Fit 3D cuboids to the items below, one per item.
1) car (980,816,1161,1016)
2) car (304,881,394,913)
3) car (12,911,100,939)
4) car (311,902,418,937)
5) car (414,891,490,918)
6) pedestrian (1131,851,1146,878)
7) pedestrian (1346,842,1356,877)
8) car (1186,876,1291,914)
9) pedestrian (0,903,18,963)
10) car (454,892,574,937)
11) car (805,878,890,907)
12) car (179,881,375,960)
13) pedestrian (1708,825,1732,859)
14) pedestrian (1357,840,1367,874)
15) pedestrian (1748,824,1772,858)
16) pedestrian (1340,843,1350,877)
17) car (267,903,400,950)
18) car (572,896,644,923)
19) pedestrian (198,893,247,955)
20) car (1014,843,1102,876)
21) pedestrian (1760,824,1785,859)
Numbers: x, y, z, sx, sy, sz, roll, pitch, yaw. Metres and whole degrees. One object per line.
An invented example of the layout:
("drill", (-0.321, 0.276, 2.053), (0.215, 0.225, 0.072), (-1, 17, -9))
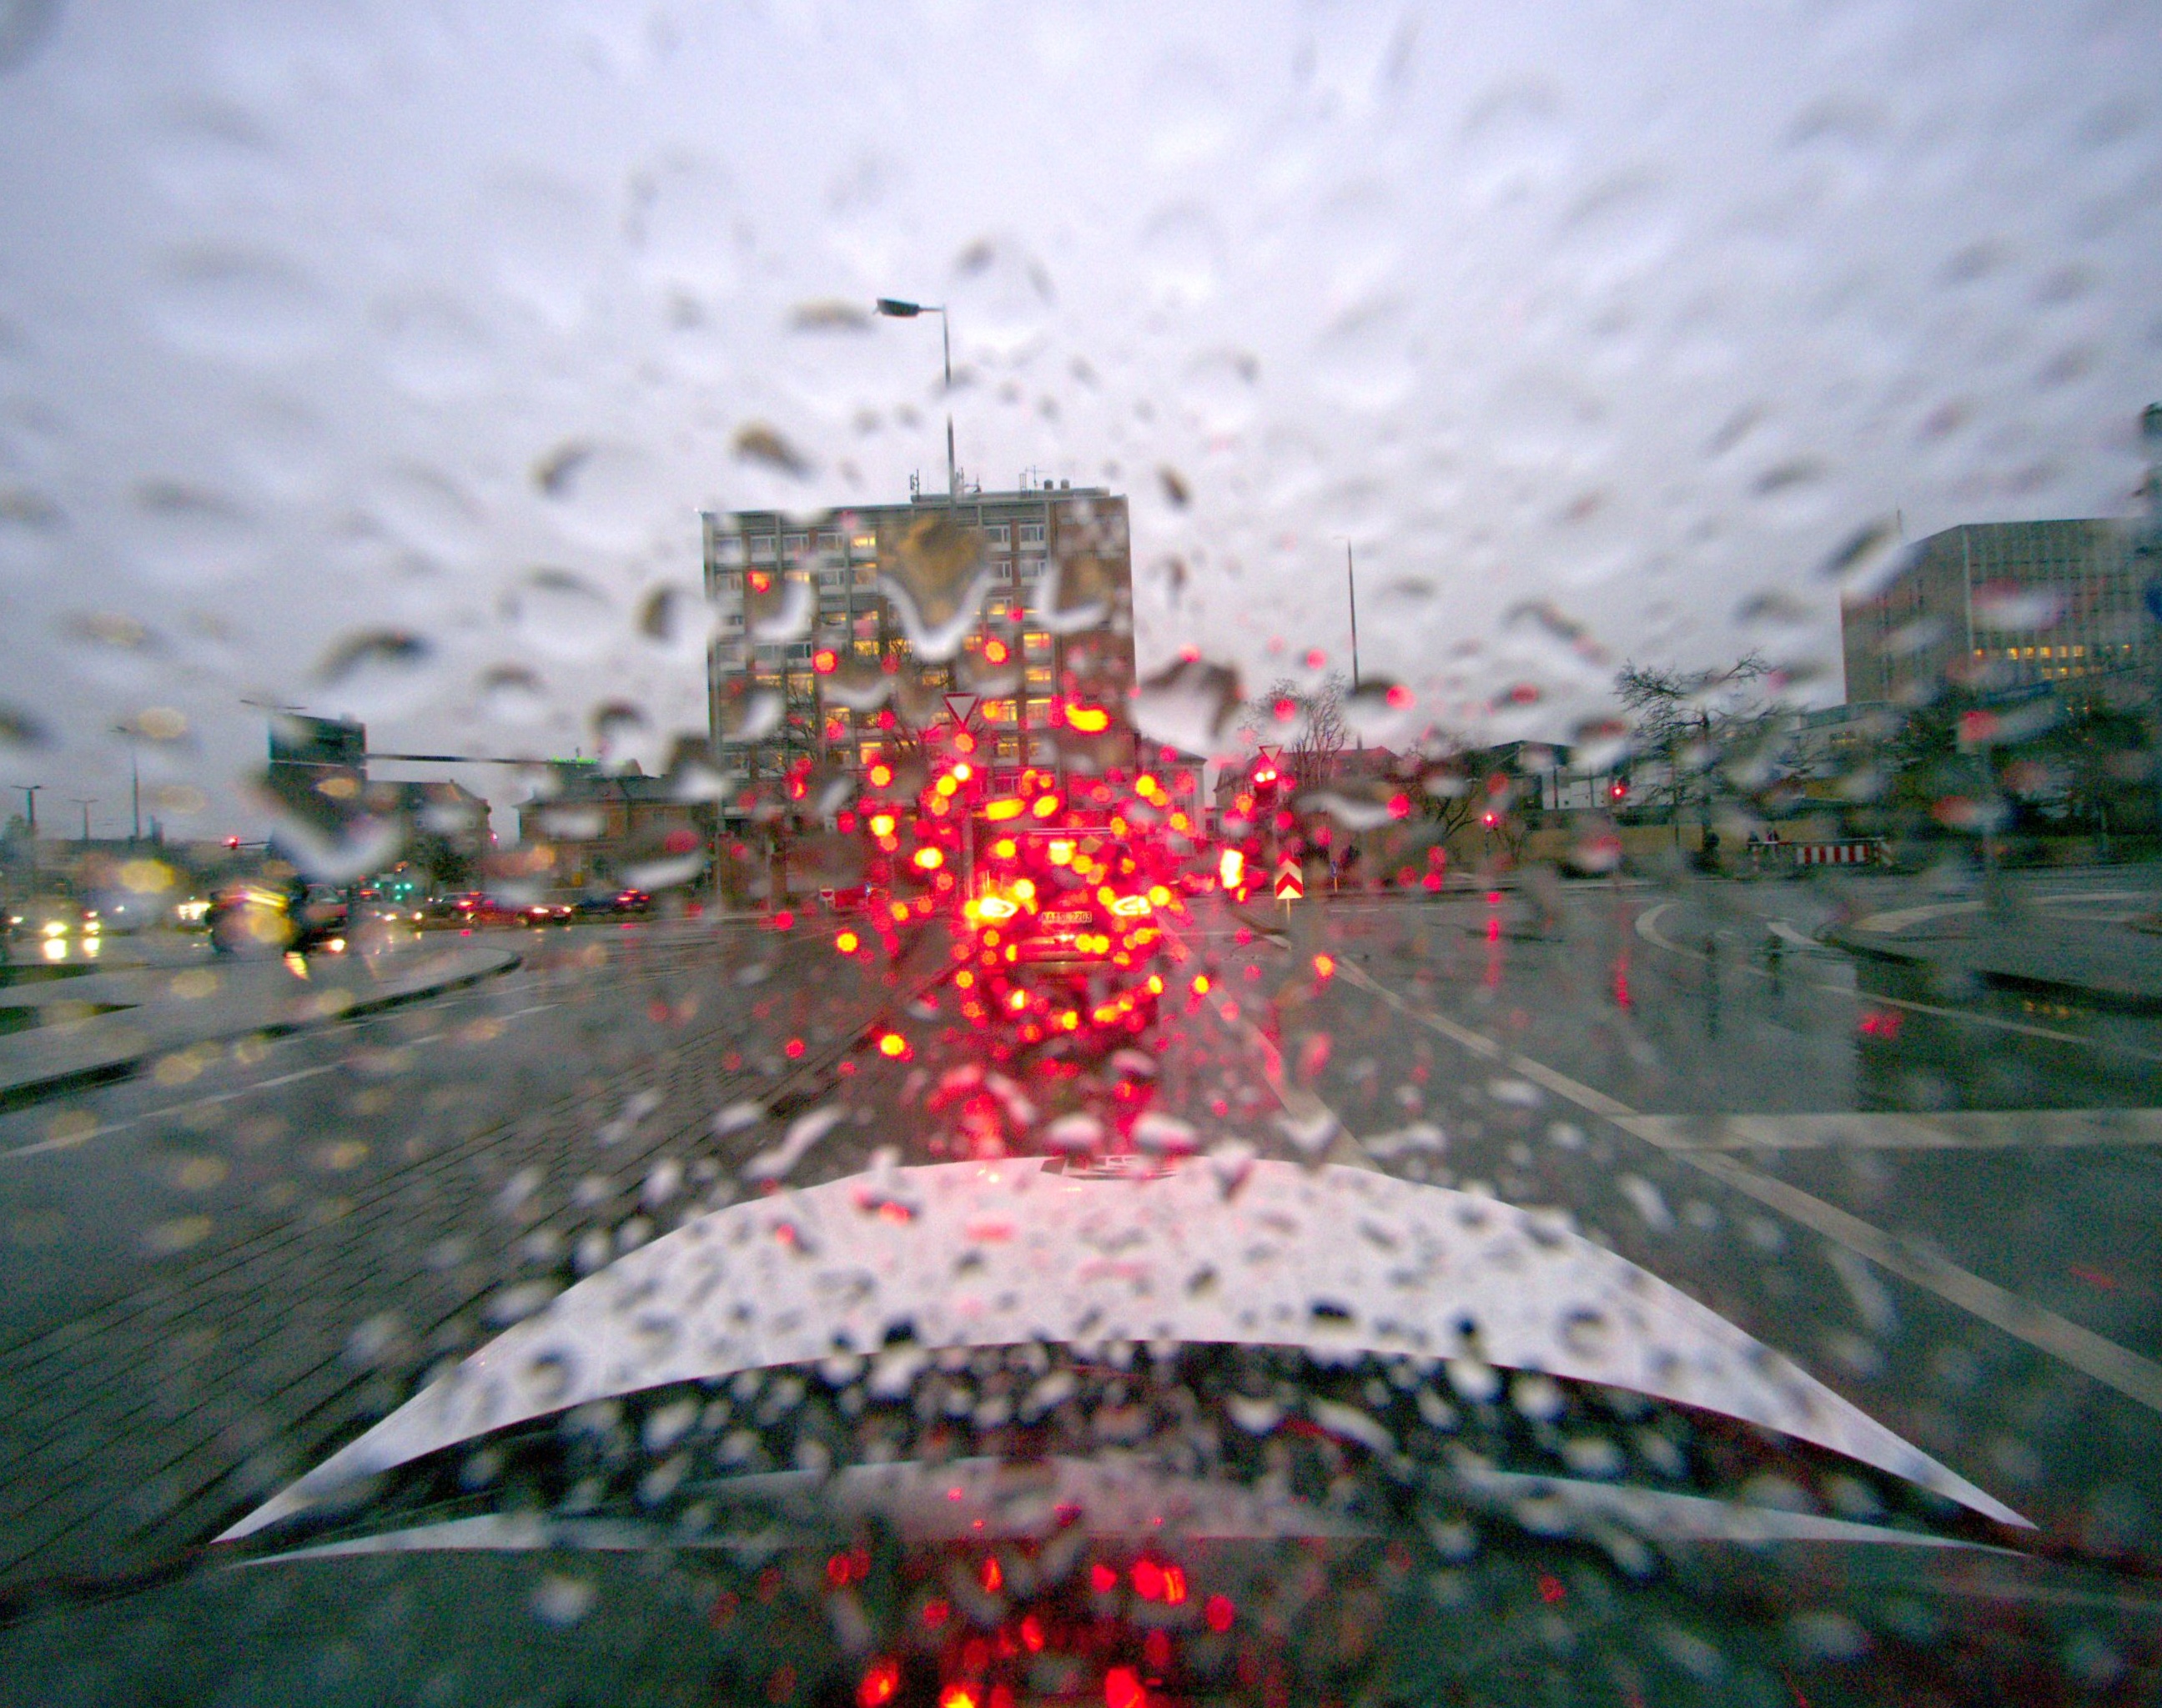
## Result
("car", (-0.036, 0.567, 9.501), (1.641, 1.819, 4.002), (-1, 0, 2))
("car", (-47.969, 2.827, 53.360), (5.114, 1.913, 2.008), (-2, -1, 17))
("car", (-56.299, 3.886, 44.749), (3.611, 1.447, 1.610), (-1, -2, 13))
("car", (-31.341, 2.857, 35.643), (3.800, 1.449, 1.610), (-1, -2, 14))
("car", (-36.638, 2.917, 47.424), (3.885, 1.486, 1.475), (-2, -2, 17))
("pedestrian", (3.586, 0.686, 50.710), (0.687, 1.661, 0.671), (0, -2, -25))
("pedestrian", (14.391, 0.312, 43.441), (0.454, 1.839, 0.441), (-2, -2, 19))
("car", (6.977, 1.813, 35.983), (4.401, 1.580, 1.975), (-1, -2, 14))
("pedestrian", (-32.715, 2.389, 24.551), (0.605, 1.772, 0.587), (-1, -2, 15))
("car", (-22.984, 2.442, 33.049), (4.040, 1.684, 1.766), (-1, -2, 14))
("car", (-11.540, 1.904, 40.330), (3.763, 1.398, 1.570), (-1, -2, 14))
("car", (-25.154, 2.047, 25.520), (4.981, 2.282, 2.268), (-2, -2, 18))
("pedestrian", (33.211, -0.601, 42.320), (0.620, 1.725, 0.762), (-1, -2, 8))
("pedestrian", (15.309, 0.164, 44.347), (0.434, 1.839, 0.462), (-2, -2, 20))
("pedestrian", (35.472, -0.652, 42.544), (0.620, 1.725, 0.762), (-1, -2, 8))
("pedestrian", (14.422, 0.348, 44.497), (0.434, 1.839, 0.462), (-2, -2, 19))
("car", (-29.053, 2.812, 31.690), (4.037, 1.684, 1.766), (-1, -2, 13))
("car", (-25.758, 3.010, 44.376), (3.384, 1.398, 1.475), (-2, -3, 17))
("pedestrian", (-24.114, 1.953, 22.879), (0.456, 1.697, 0.801), (-2, -2, 25))
("car", (-1.507, 0.369, 53.870), (5.516, 2.024, 2.004), (-1, -2, 7))
("pedestrian", (35.035, -0.611, 41.272), (0.620, 1.725, 0.762), (-1, -2, 8))
